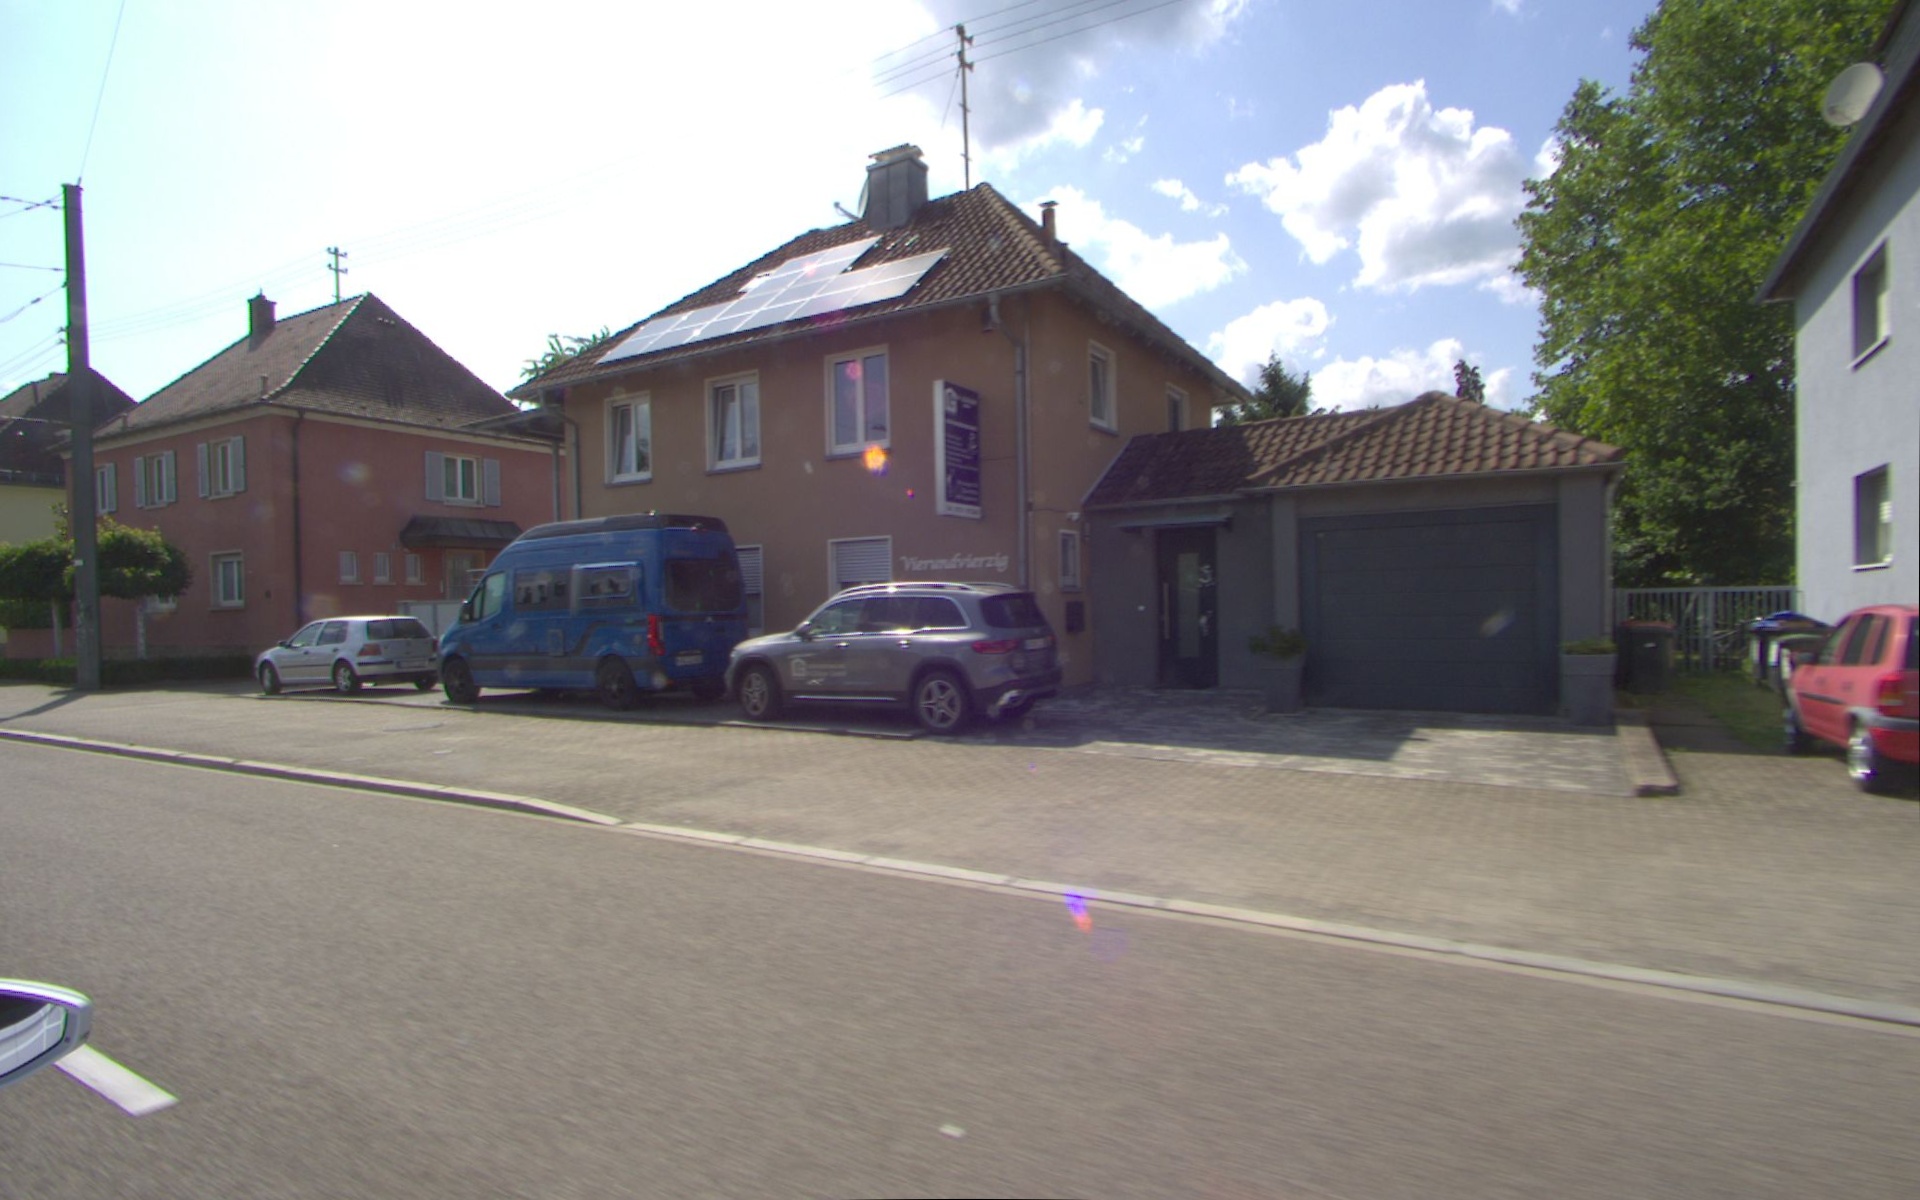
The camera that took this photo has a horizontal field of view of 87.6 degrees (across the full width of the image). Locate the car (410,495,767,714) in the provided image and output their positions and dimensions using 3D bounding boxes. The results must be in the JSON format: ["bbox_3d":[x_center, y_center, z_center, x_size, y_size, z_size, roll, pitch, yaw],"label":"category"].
[{"bbox_3d":[-6.130,0.159,16.156,6.156,2.967,2.147,-2,-2,33],"label":"car"}]

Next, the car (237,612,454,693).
[{"bbox_3d":[-12.018,0.994,19.550,4.283,1.428,1.647,-1,0,28],"label":"car"}]

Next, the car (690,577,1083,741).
[{"bbox_3d":[-1.023,0.640,12.699,4.793,1.735,1.832,-1,2,32],"label":"car"}]

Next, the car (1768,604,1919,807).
[{"bbox_3d":[8.068,0.729,8.182,1.701,1.398,3.644,-2,-1,30],"label":"car"}]

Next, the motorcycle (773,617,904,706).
[{"bbox_3d":[-1.847,0.891,15.092,1.939,1.249,0.690,-1,1,32],"label":"motorcycle"}]
